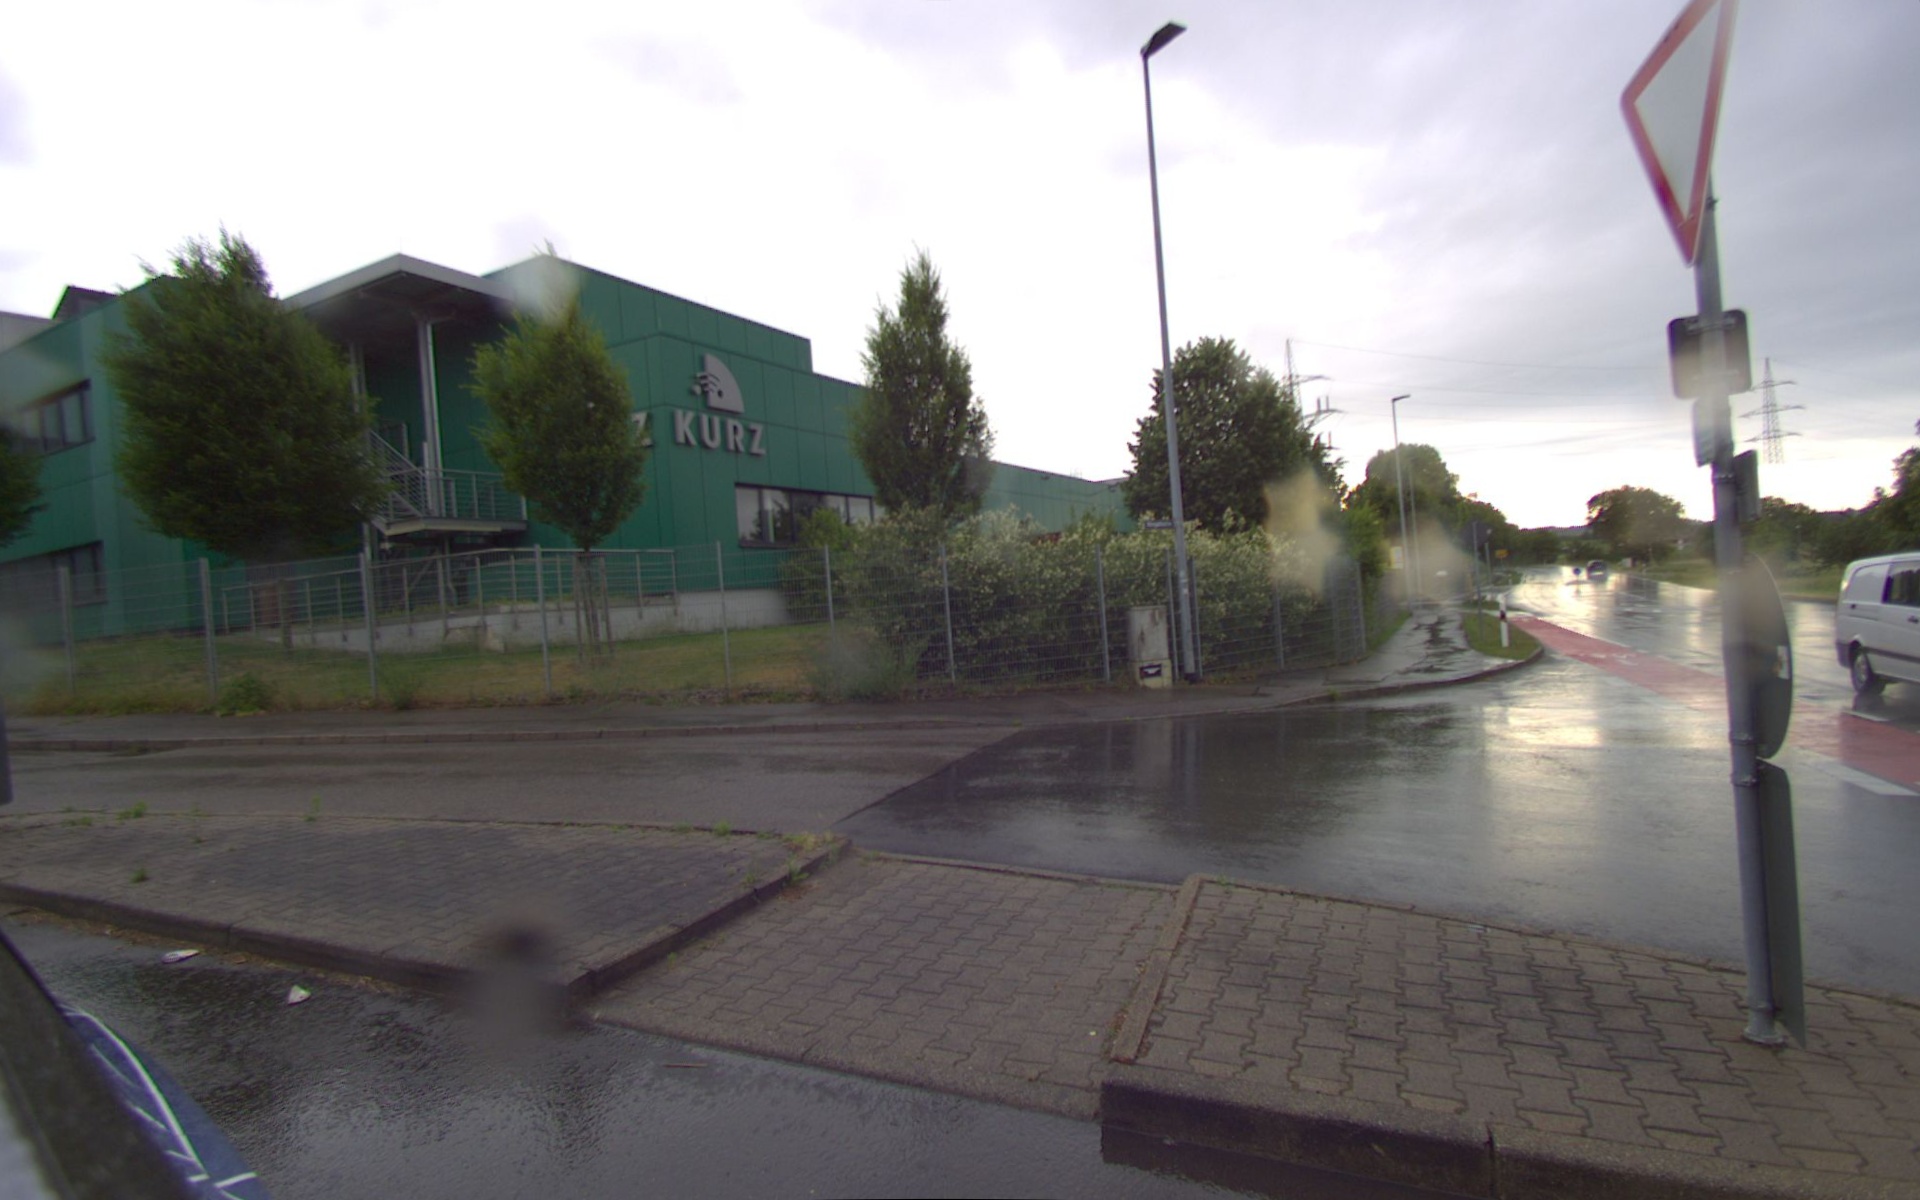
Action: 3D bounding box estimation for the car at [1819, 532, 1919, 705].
[{"bbox_3d":[12.190,0.187,11.627,1.892,2.033,5.332,-2,-1,22],"label":"car"}]
